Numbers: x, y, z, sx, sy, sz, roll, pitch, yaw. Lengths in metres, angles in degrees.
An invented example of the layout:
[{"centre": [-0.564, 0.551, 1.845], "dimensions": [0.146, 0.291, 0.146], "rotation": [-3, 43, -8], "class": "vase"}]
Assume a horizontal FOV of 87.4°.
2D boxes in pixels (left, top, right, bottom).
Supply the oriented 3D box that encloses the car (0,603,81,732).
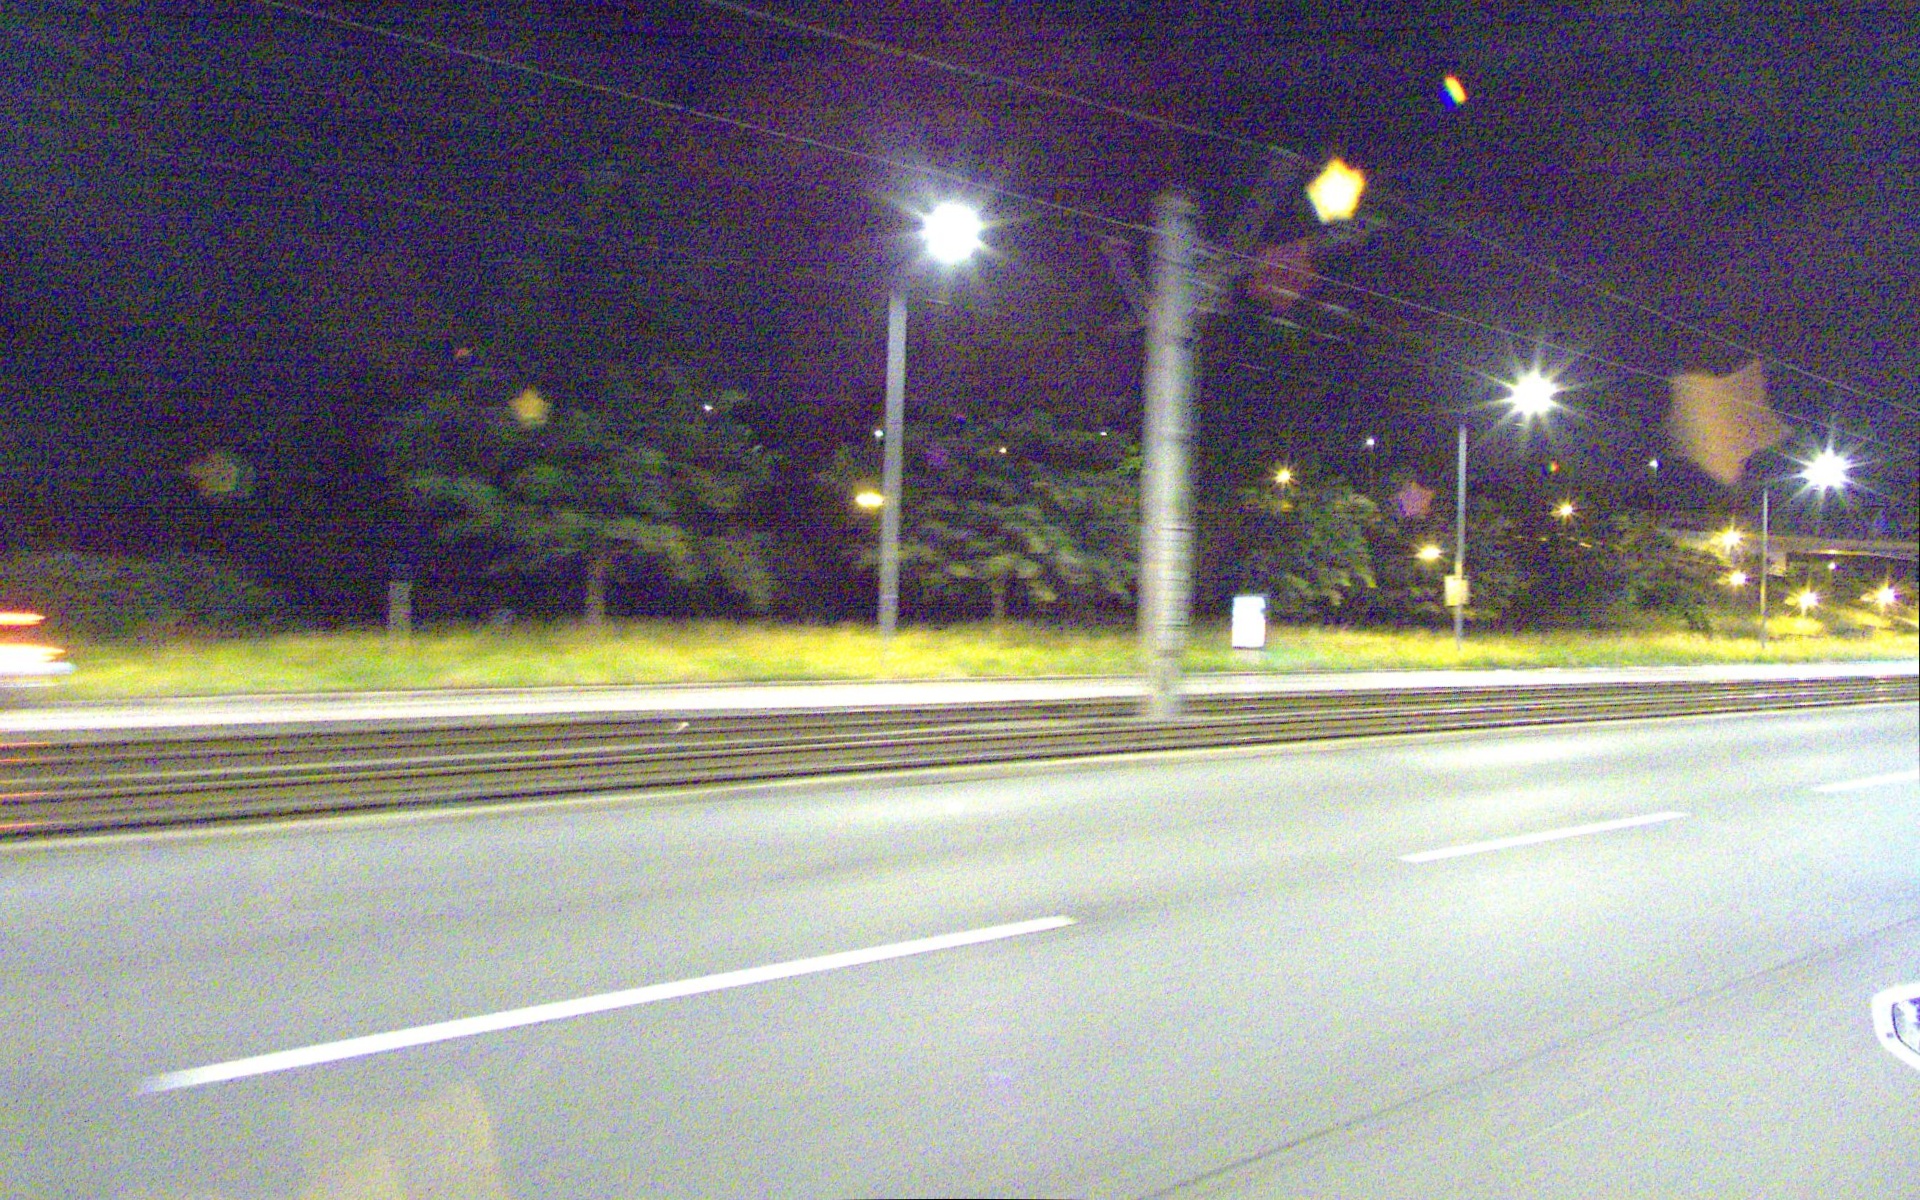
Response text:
[{"centre": [-13.076, 0.776, 10.984], "dimensions": [4.898, 1.447, 1.858], "rotation": [1, -3, -30], "class": "car"}]
